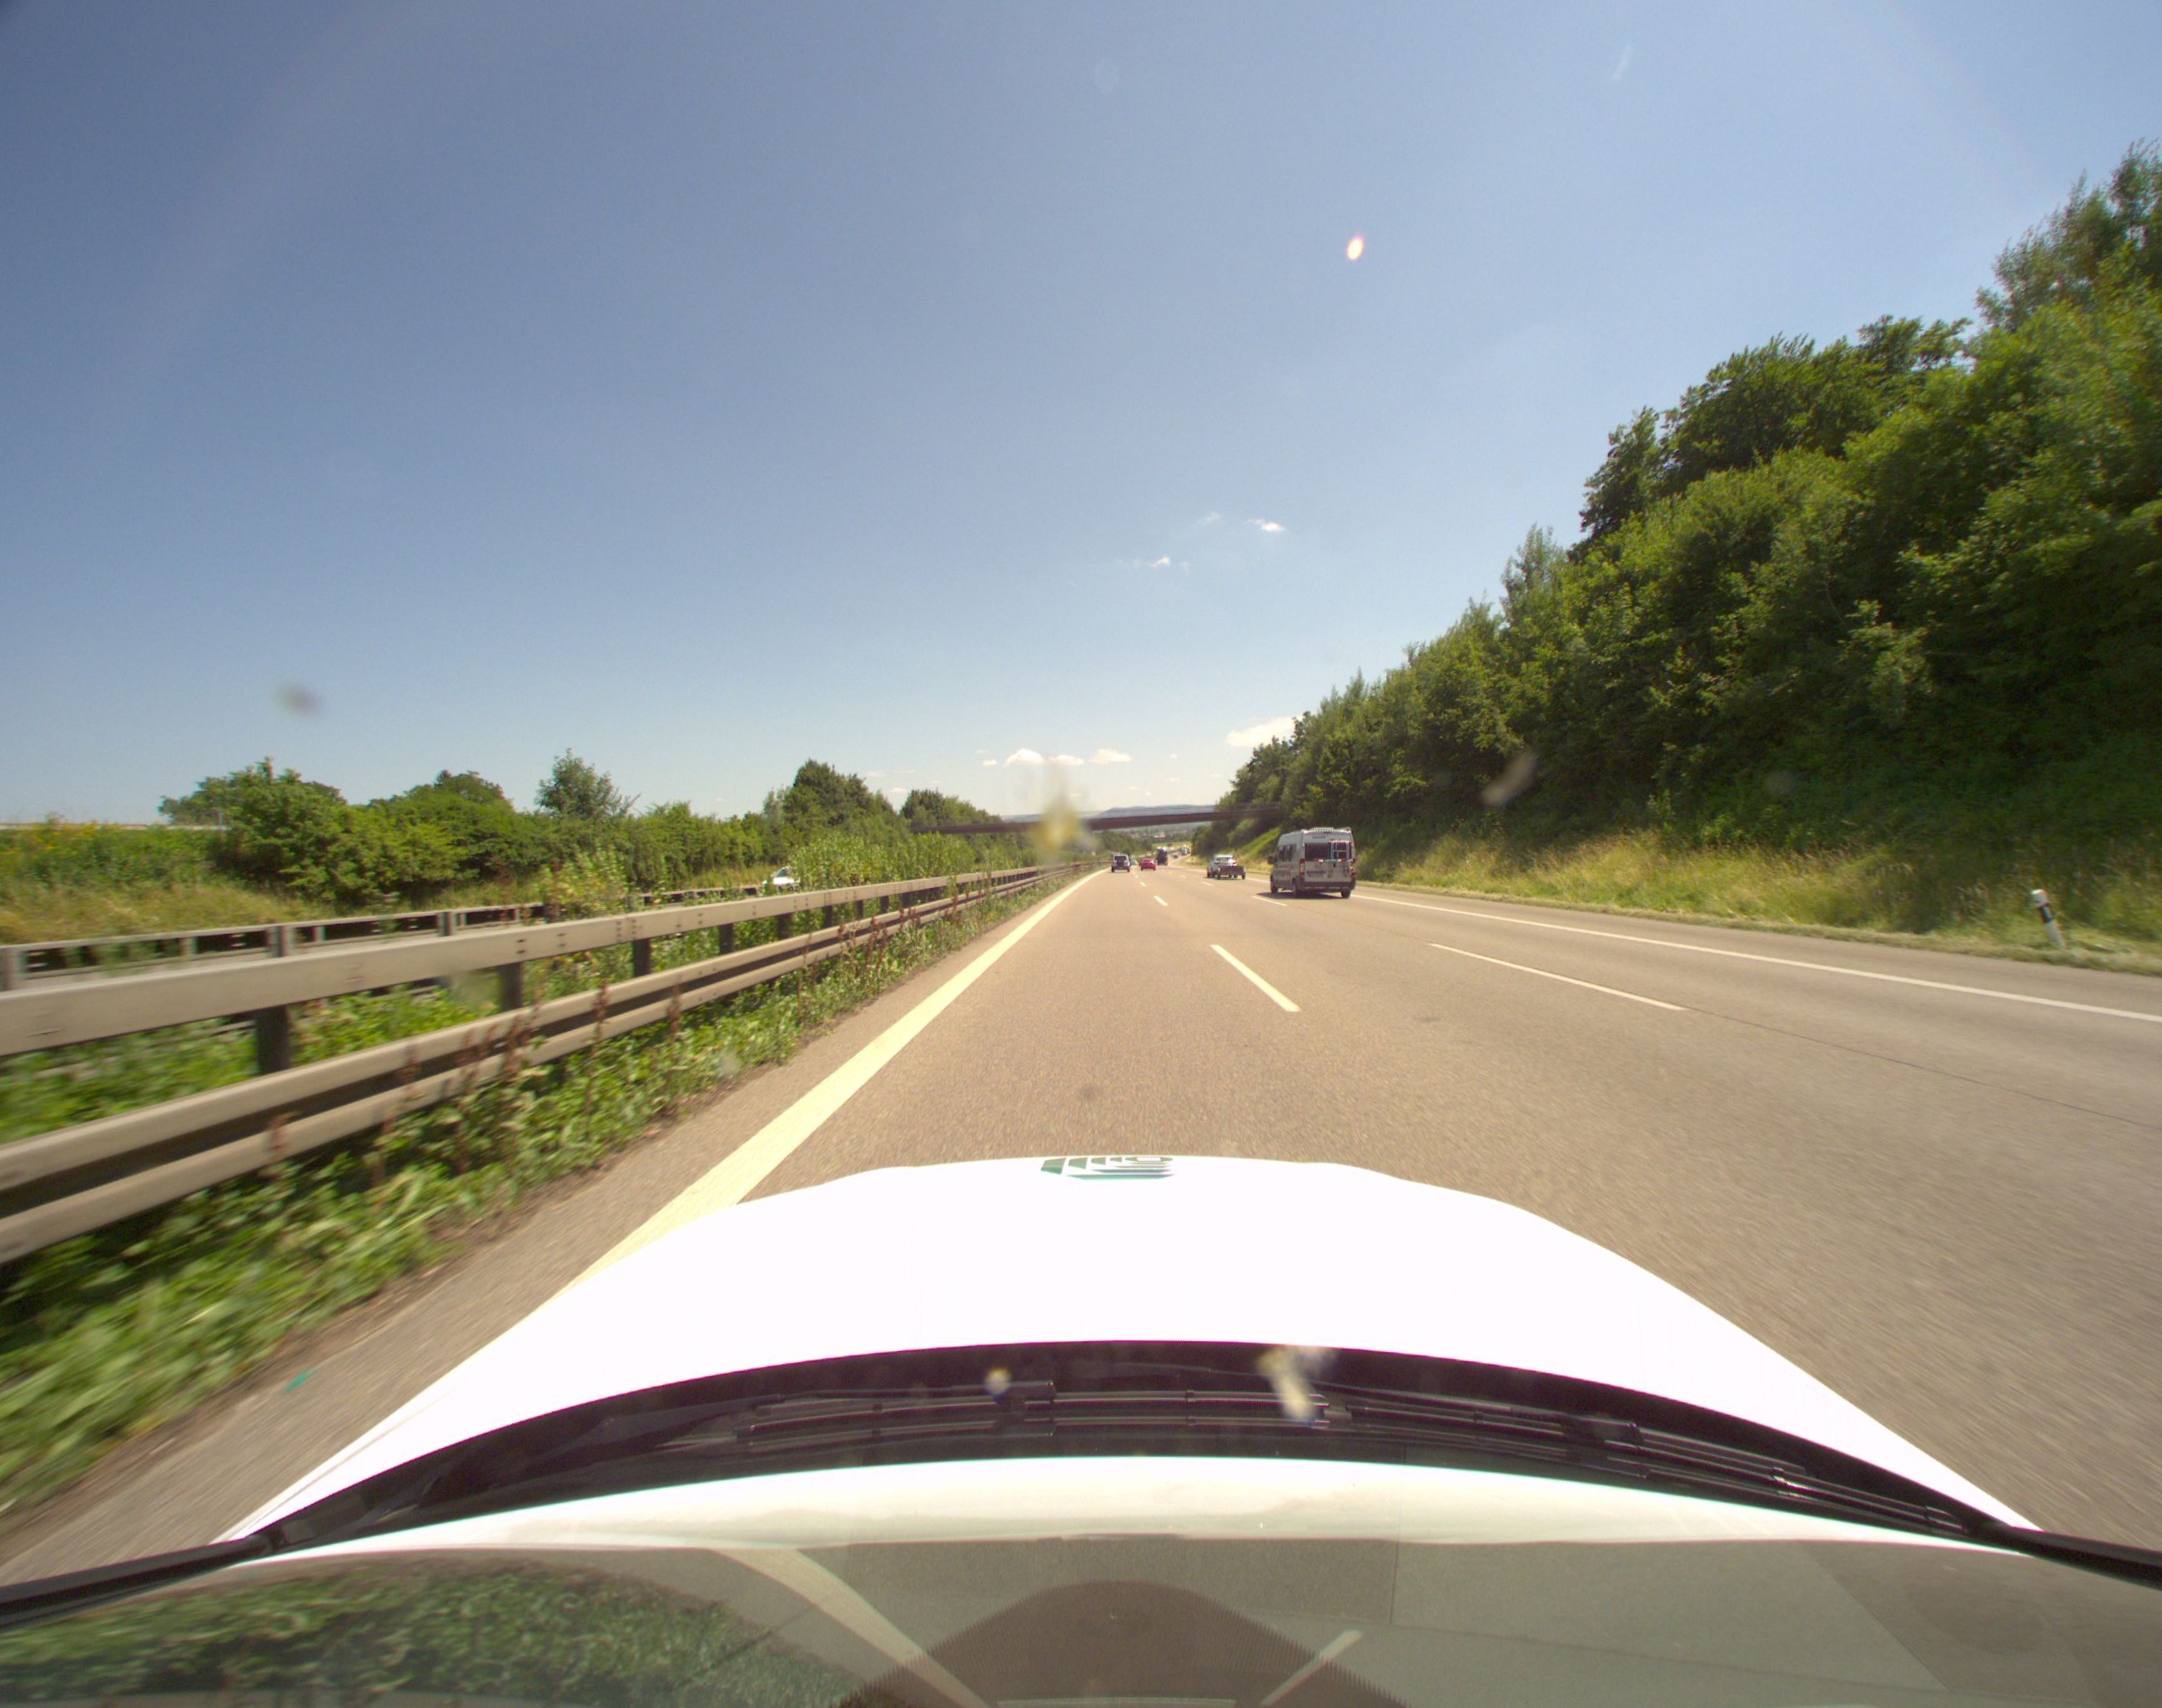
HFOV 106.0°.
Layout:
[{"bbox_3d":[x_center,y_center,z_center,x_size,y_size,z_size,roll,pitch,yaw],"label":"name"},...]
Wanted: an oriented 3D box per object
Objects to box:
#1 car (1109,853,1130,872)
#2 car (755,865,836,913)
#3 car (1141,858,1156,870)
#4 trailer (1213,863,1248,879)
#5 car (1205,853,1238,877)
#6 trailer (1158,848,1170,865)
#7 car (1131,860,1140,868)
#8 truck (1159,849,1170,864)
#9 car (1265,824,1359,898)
[{"bbox_3d":[4.075,0.866,86.096,2.075,1.829,4.758,0,1,3],"label":"car"},{"bbox_3d":[-12.067,1.421,34.725,1.793,1.815,4.291,0,1,2],"label":"car"},{"bbox_3d":[8.221,1.241,99.568,1.679,1.379,3.950,0,1,2],"label":"car"},{"bbox_3d":[10.096,1.153,55.369,1.747,0.908,4.322,0,1,2],"label":"trailer"},{"bbox_3d":[10.275,0.749,59.740,1.774,1.650,4.405,0,1,2],"label":"car"},{"bbox_3d":[21.117,0.589,206.670,2.840,3.993,15.426,0,1,7],"label":"trailer"},{"bbox_3d":[14.439,2.710,215.255,1.686,2.013,3.836,0,1,13],"label":"car"},{"bbox_3d":[21.991,0.545,214.348,2.740,3.852,6.656,0,1,6],"label":"truck"},{"bbox_3d":[8.867,0.215,31.970,2.081,2.576,6.626,0,1,2],"label":"car"}]
